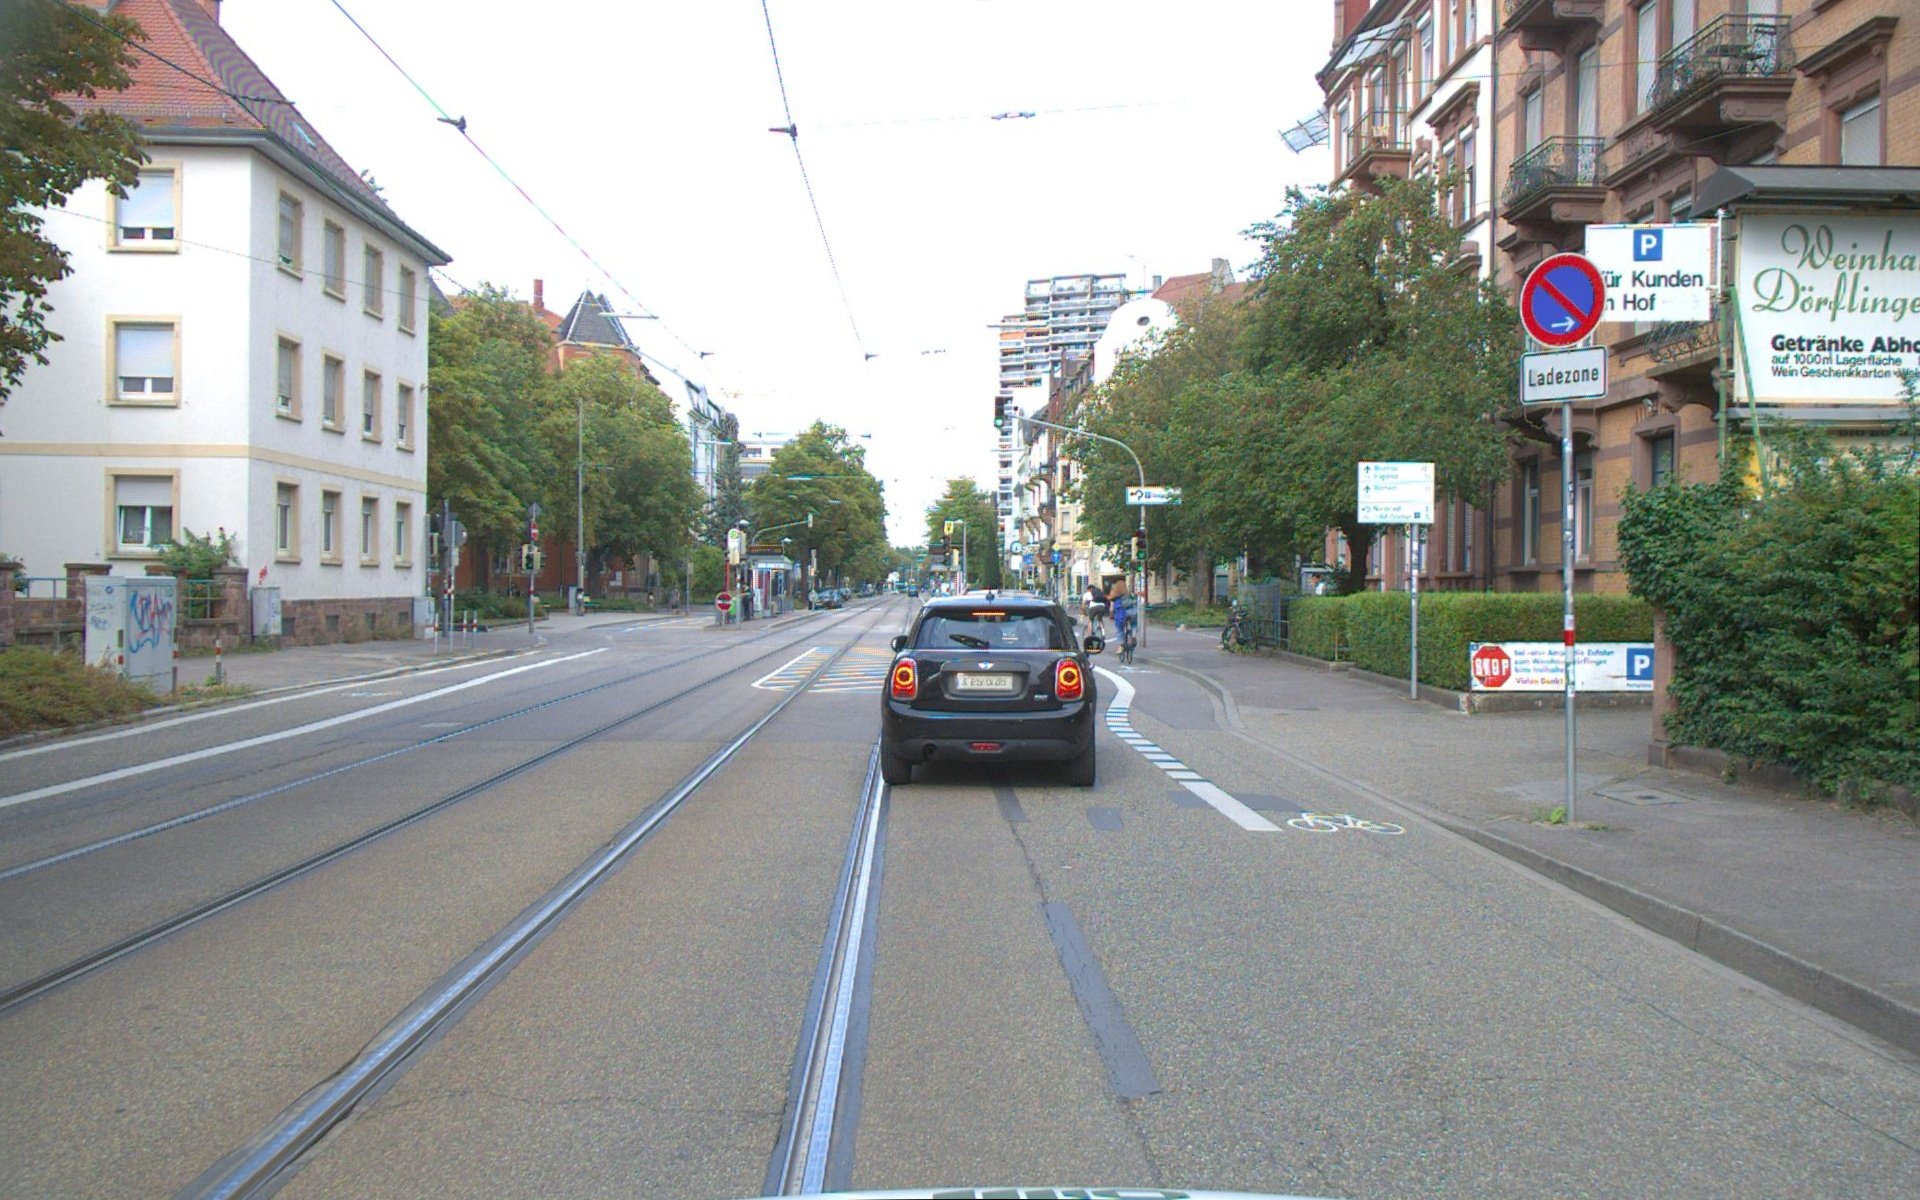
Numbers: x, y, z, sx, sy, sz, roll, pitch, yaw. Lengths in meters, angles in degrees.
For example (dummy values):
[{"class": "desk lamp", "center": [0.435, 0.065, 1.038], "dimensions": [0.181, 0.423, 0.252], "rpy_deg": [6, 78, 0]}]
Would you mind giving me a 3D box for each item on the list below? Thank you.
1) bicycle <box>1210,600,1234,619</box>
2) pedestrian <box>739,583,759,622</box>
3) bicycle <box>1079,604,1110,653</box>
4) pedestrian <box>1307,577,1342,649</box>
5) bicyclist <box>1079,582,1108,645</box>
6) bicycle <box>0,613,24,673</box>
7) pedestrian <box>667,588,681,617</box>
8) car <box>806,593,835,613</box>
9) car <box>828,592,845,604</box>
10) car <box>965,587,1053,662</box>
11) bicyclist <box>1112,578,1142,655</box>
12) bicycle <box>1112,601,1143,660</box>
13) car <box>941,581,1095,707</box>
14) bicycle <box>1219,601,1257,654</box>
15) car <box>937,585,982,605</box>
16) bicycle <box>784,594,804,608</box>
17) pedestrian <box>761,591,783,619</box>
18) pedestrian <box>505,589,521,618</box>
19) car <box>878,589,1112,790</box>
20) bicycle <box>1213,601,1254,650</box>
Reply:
[{"class": "bicycle", "center": [15.895, 0.557, 100.273], "dimensions": [0.523, 1.147, 1.883], "rpy_deg": [0, 0, 40]}, {"class": "pedestrian", "center": [-9.008, 0.096, 70.710], "dimensions": [0.835, 1.649, 0.842], "rpy_deg": [0, 0, -7]}, {"class": "bicycle", "center": [3.380, 0.710, 41.783], "dimensions": [0.670, 1.190, 1.697], "rpy_deg": [0, 0, 1]}, {"class": "pedestrian", "center": [9.074, 0.320, 41.193], "dimensions": [0.715, 1.784, 0.950], "rpy_deg": [0, 0, 3]}, {"class": "bicyclist", "center": [3.385, 0.337, 41.880], "dimensions": [0.670, 1.591, 0.998], "rpy_deg": [0, 0, 1]}, {"class": "bicycle", "center": [-15.316, 0.681, 25.825], "dimensions": [0.468, 0.931, 1.672], "rpy_deg": [0, 0, -1]}, {"class": "pedestrian", "center": [-17.169, 0.157, 99.392], "dimensions": [0.680, 1.749, 0.758], "rpy_deg": [0, 0, 0]}, {"class": "car", "center": [-10.414, 0.208, 123.481], "dimensions": [1.716, 1.466, 4.000], "rpy_deg": [2, 0, 0]}, {"class": "car", "center": [-15.683, -0.251, 210.699], "dimensions": [1.953, 1.579, 3.999], "rpy_deg": [0, 0, -1]}, {"class": "car", "center": [1.005, 0.466, 34.740], "dimensions": [1.715, 1.466, 4.480], "rpy_deg": [0, 0, 1]}, {"class": "bicyclist", "center": [3.474, 0.327, 34.472], "dimensions": [0.582, 1.577, 1.014], "rpy_deg": [0, 0, 4]}, {"class": "bicycle", "center": [3.476, 0.619, 34.460], "dimensions": [0.586, 1.190, 1.697], "rpy_deg": [0, 0, 4]}, {"class": "car", "center": [0.753, 0.534, 22.269], "dimensions": [1.887, 1.536, 4.001], "rpy_deg": [0, 0, 1]}, {"class": "bicycle", "center": [6.128, 0.598, 36.508], "dimensions": [0.498, 1.107, 1.550], "rpy_deg": [-3, 0, -1]}, {"class": "car", "center": [-0.022, -0.546, 193.619], "dimensions": [4.996, 2.312, 2.360], "rpy_deg": [0, 0, -42]}, {"class": "bicycle", "center": [-14.193, 0.094, 141.542], "dimensions": [1.657, 1.138, 0.564], "rpy_deg": [0, 0, -41]}, {"class": "pedestrian", "center": [-8.945, 0.231, 78.622], "dimensions": [1.038, 1.316, 0.984], "rpy_deg": [0, 0, -7]}, {"class": "pedestrian", "center": [-27.272, 0.210, 100.872], "dimensions": [0.817, 1.733, 0.732], "rpy_deg": [0, 0, -7]}, {"class": "car", "center": [0.333, 0.650, 14.152], "dimensions": [1.715, 1.466, 4.001], "rpy_deg": [0, 0, 2]}, {"class": "bicycle", "center": [6.484, 0.582, 39.239], "dimensions": [0.657, 1.125, 1.672], "rpy_deg": [0, 0, -1]}]
